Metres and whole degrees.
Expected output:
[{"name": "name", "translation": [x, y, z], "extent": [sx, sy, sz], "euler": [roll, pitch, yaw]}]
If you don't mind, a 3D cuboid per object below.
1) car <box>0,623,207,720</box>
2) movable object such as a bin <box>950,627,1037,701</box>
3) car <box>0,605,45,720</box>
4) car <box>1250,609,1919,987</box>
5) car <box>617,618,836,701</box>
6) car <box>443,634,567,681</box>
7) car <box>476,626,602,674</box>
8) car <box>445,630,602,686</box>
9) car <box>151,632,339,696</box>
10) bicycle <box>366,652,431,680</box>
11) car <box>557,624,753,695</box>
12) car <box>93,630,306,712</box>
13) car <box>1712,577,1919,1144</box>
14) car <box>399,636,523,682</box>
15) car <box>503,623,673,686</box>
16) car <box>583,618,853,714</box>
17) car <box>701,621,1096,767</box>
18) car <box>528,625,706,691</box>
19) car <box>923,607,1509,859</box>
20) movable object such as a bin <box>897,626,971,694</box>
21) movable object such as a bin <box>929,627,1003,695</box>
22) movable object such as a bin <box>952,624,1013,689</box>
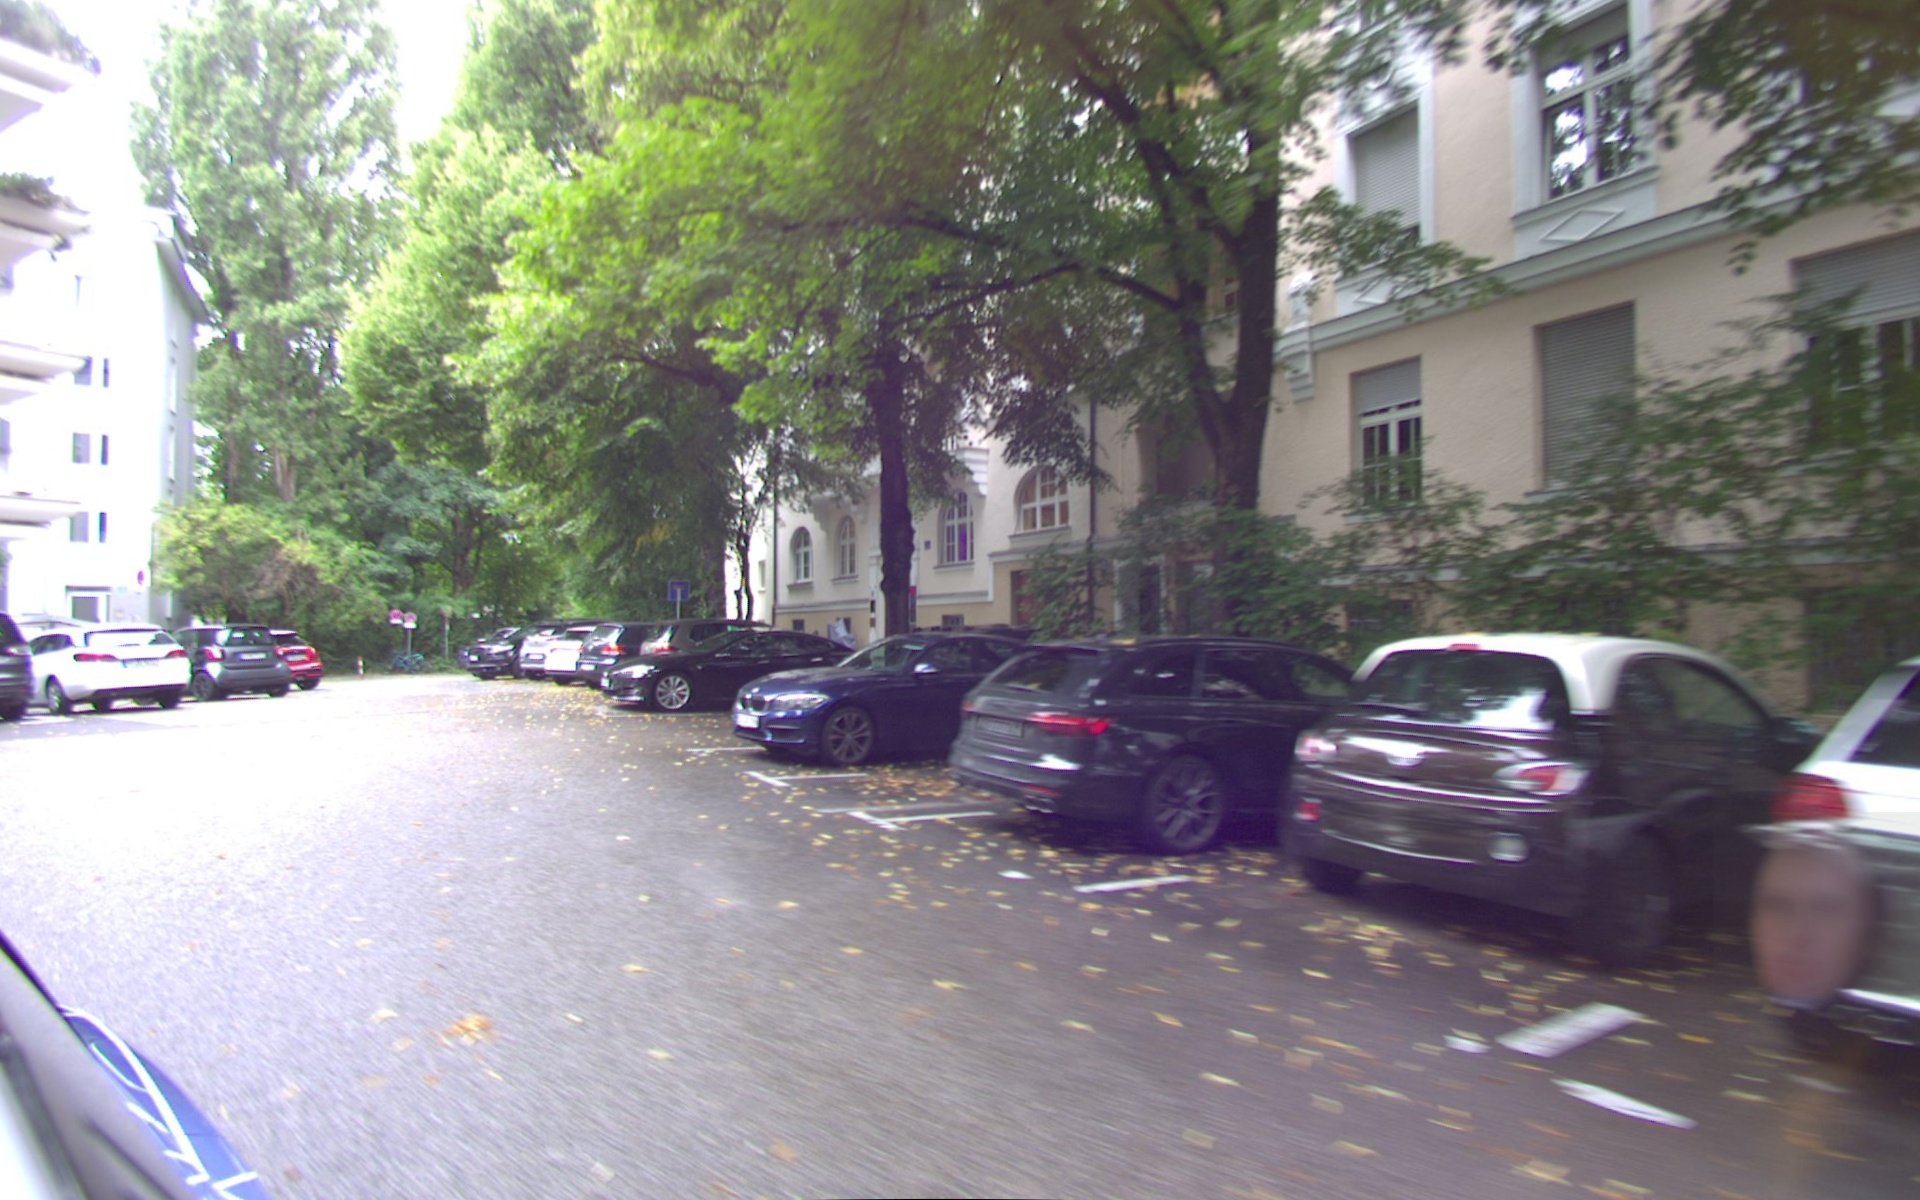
[{"name": "car", "translation": [-15.205, 1.257, 17.638], "extent": [3.981, 1.490, 1.818], "euler": [-4, -4, 28]}, {"name": "movable object such as a bin", "translation": [0.646, 1.202, 19.389], "extent": [1.408, 1.315, 0.867], "euler": [1, 0, -35]}, {"name": "car", "translation": [-16.165, 1.033, 15.495], "extent": [4.213, 1.697, 1.884], "euler": [-4, -3, 28]}, {"name": "car", "translation": [3.630, 0.921, 5.624], "extent": [3.686, 1.436, 1.838], "euler": [5, -4, -31]}, {"name": "car", "translation": [-4.715, 1.147, 20.690], "extent": [3.960, 1.542, 1.848], "euler": [1, -2, -39]}, {"name": "car", "translation": [-15.918, 1.972, 35.613], "extent": [1.711, 1.489, 3.974], "euler": [-1, -1, 20]}, {"name": "car", "translation": [-14.066, 1.643, 34.074], "extent": [1.711, 1.489, 3.974], "euler": [-1, -1, 20]}, {"name": "car", "translation": [-12.104, 1.554, 28.355], "extent": [2.043, 1.412, 3.981], "euler": [0, -1, 14]}, {"name": "car", "translation": [-17.013, 1.470, 24.099], "extent": [3.971, 1.409, 1.744], "euler": [0, -2, 21]}, {"name": "bicycle", "translation": [-24.143, 2.817, 43.543], "extent": [2.428, 1.126, 0.828], "euler": [1, -2, -29]}, {"name": "car", "translation": [-6.742, 1.259, 22.711], "extent": [1.793, 1.442, 3.951], "euler": [-1, -1, 36]}, {"name": "car", "translation": [-15.865, 1.486, 21.115], "extent": [3.974, 1.490, 1.821], "euler": [-4, -3, 23]}, {"name": "car", "translation": [4.607, 0.852, 3.525], "extent": [4.213, 1.525, 1.808], "euler": [5, -4, -32]}, {"name": "car", "translation": [-17.981, 2.080, 36.689], "extent": [1.711, 1.489, 3.974], "euler": [-1, -1, 20]}, {"name": "car", "translation": [-9.814, 1.389, 26.967], "extent": [1.868, 1.521, 3.957], "euler": [-1, -1, 31]}, {"name": "car", "translation": [-4.181, 1.149, 17.667], "extent": [4.215, 1.478, 1.715], "euler": [3, -2, -31]}, {"name": "car", "translation": [-0.602, 0.994, 11.742], "extent": [4.271, 1.394, 1.849], "euler": [2, -3, -37]}, {"name": "car", "translation": [-8.225, 1.342, 24.608], "extent": [1.718, 1.442, 3.957], "euler": [-1, -1, 31]}, {"name": "car", "translation": [1.990, 0.898, 7.619], "extent": [4.091, 1.436, 1.869], "euler": [3, -4, -29]}, {"name": "movable object such as a bin", "translation": [-0.559, 1.247, 21.568], "extent": [1.137, 1.359, 1.156], "euler": [0, -1, -35]}, {"name": "movable object such as a bin", "translation": [0.126, 1.243, 21.060], "extent": [1.350, 1.358, 0.717], "euler": [1, -2, -33]}, {"name": "movable object such as a bin", "translation": [0.486, 1.219, 22.254], "extent": [0.850, 1.359, 1.124], "euler": [0, -1, -35]}]
